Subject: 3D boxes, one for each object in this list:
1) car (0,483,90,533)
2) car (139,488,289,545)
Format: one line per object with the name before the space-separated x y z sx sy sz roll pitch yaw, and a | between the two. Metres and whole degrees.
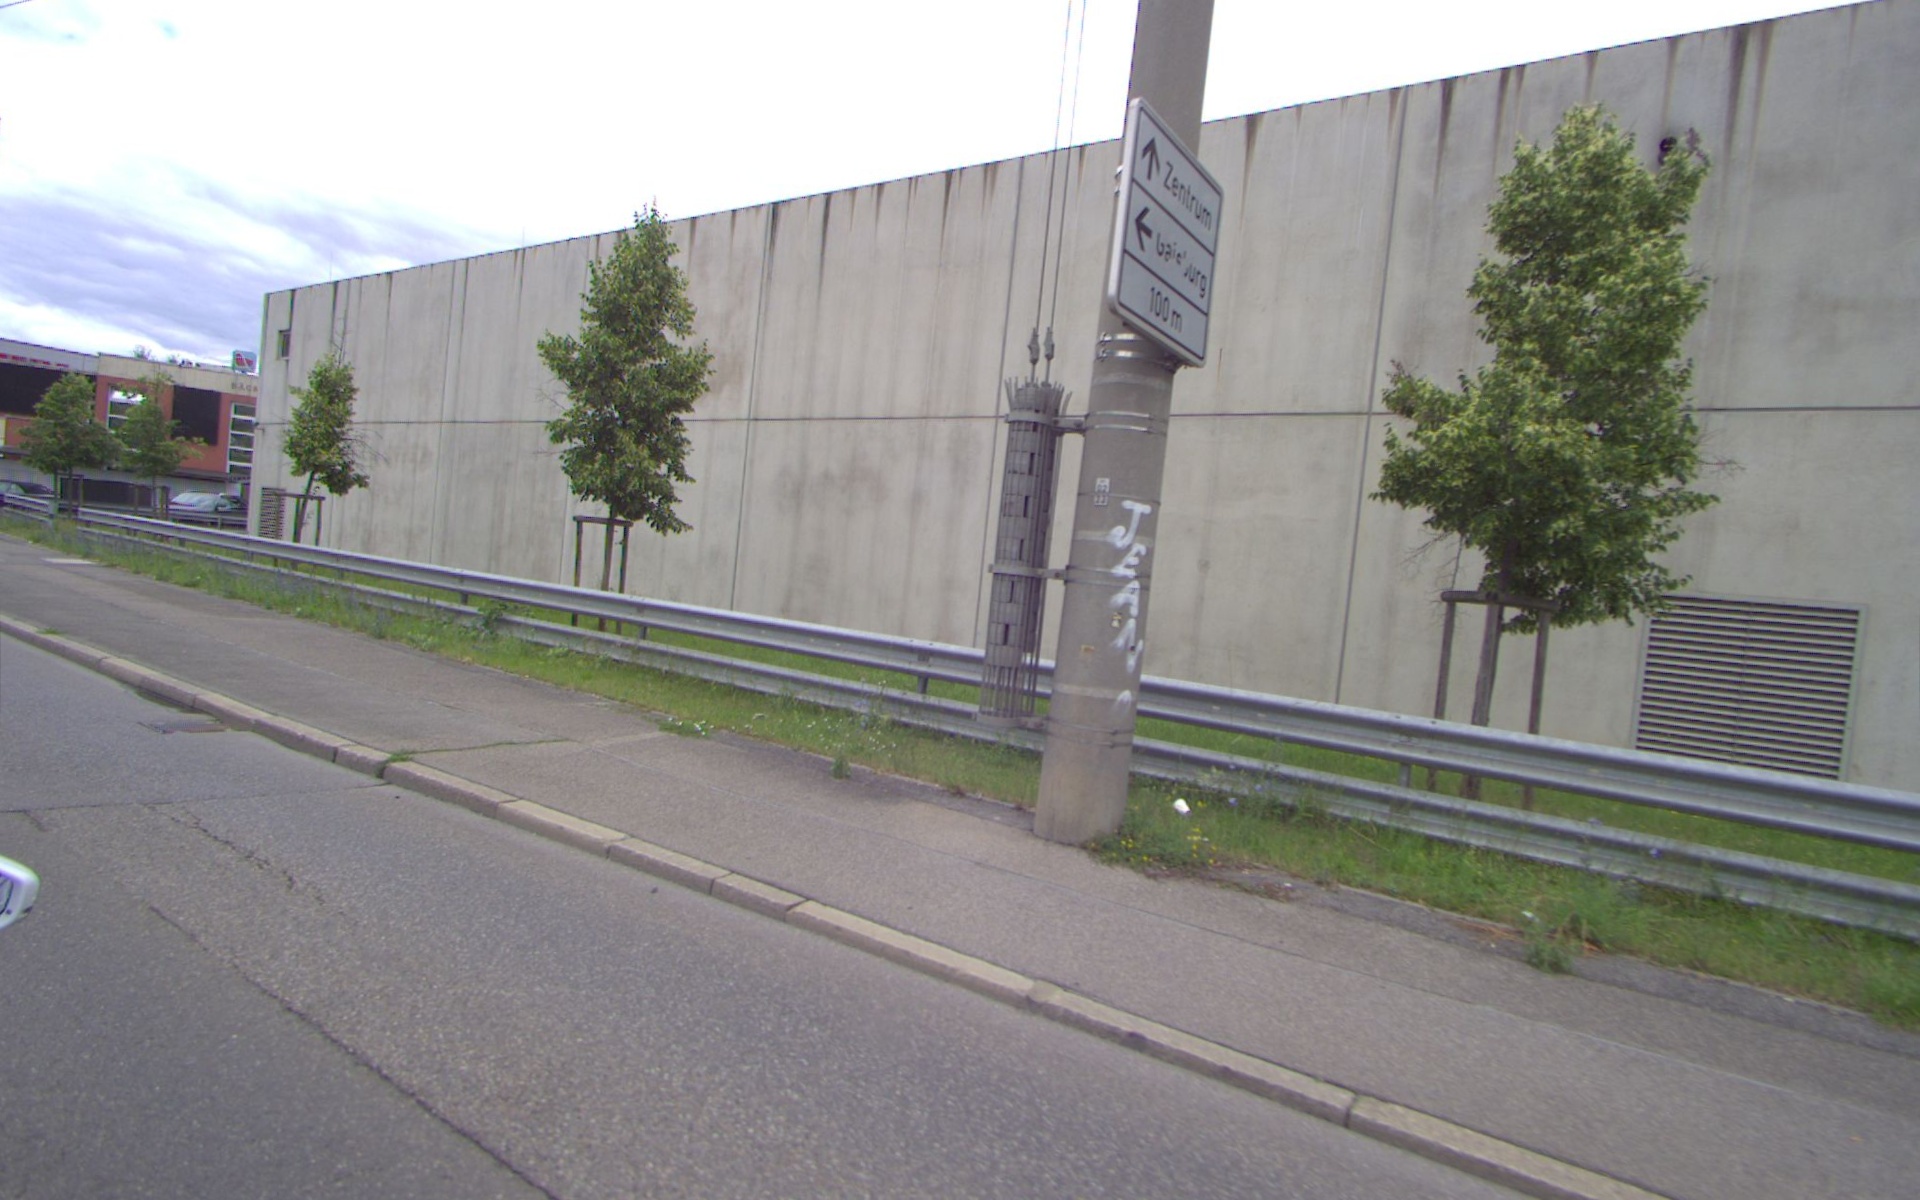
car | -32.739 -3.248 34.348 4.179 1.462 1.752 5 2 -26
car | -27.602 -3.039 37.438 2.121 1.568 4.517 7 1 -1
